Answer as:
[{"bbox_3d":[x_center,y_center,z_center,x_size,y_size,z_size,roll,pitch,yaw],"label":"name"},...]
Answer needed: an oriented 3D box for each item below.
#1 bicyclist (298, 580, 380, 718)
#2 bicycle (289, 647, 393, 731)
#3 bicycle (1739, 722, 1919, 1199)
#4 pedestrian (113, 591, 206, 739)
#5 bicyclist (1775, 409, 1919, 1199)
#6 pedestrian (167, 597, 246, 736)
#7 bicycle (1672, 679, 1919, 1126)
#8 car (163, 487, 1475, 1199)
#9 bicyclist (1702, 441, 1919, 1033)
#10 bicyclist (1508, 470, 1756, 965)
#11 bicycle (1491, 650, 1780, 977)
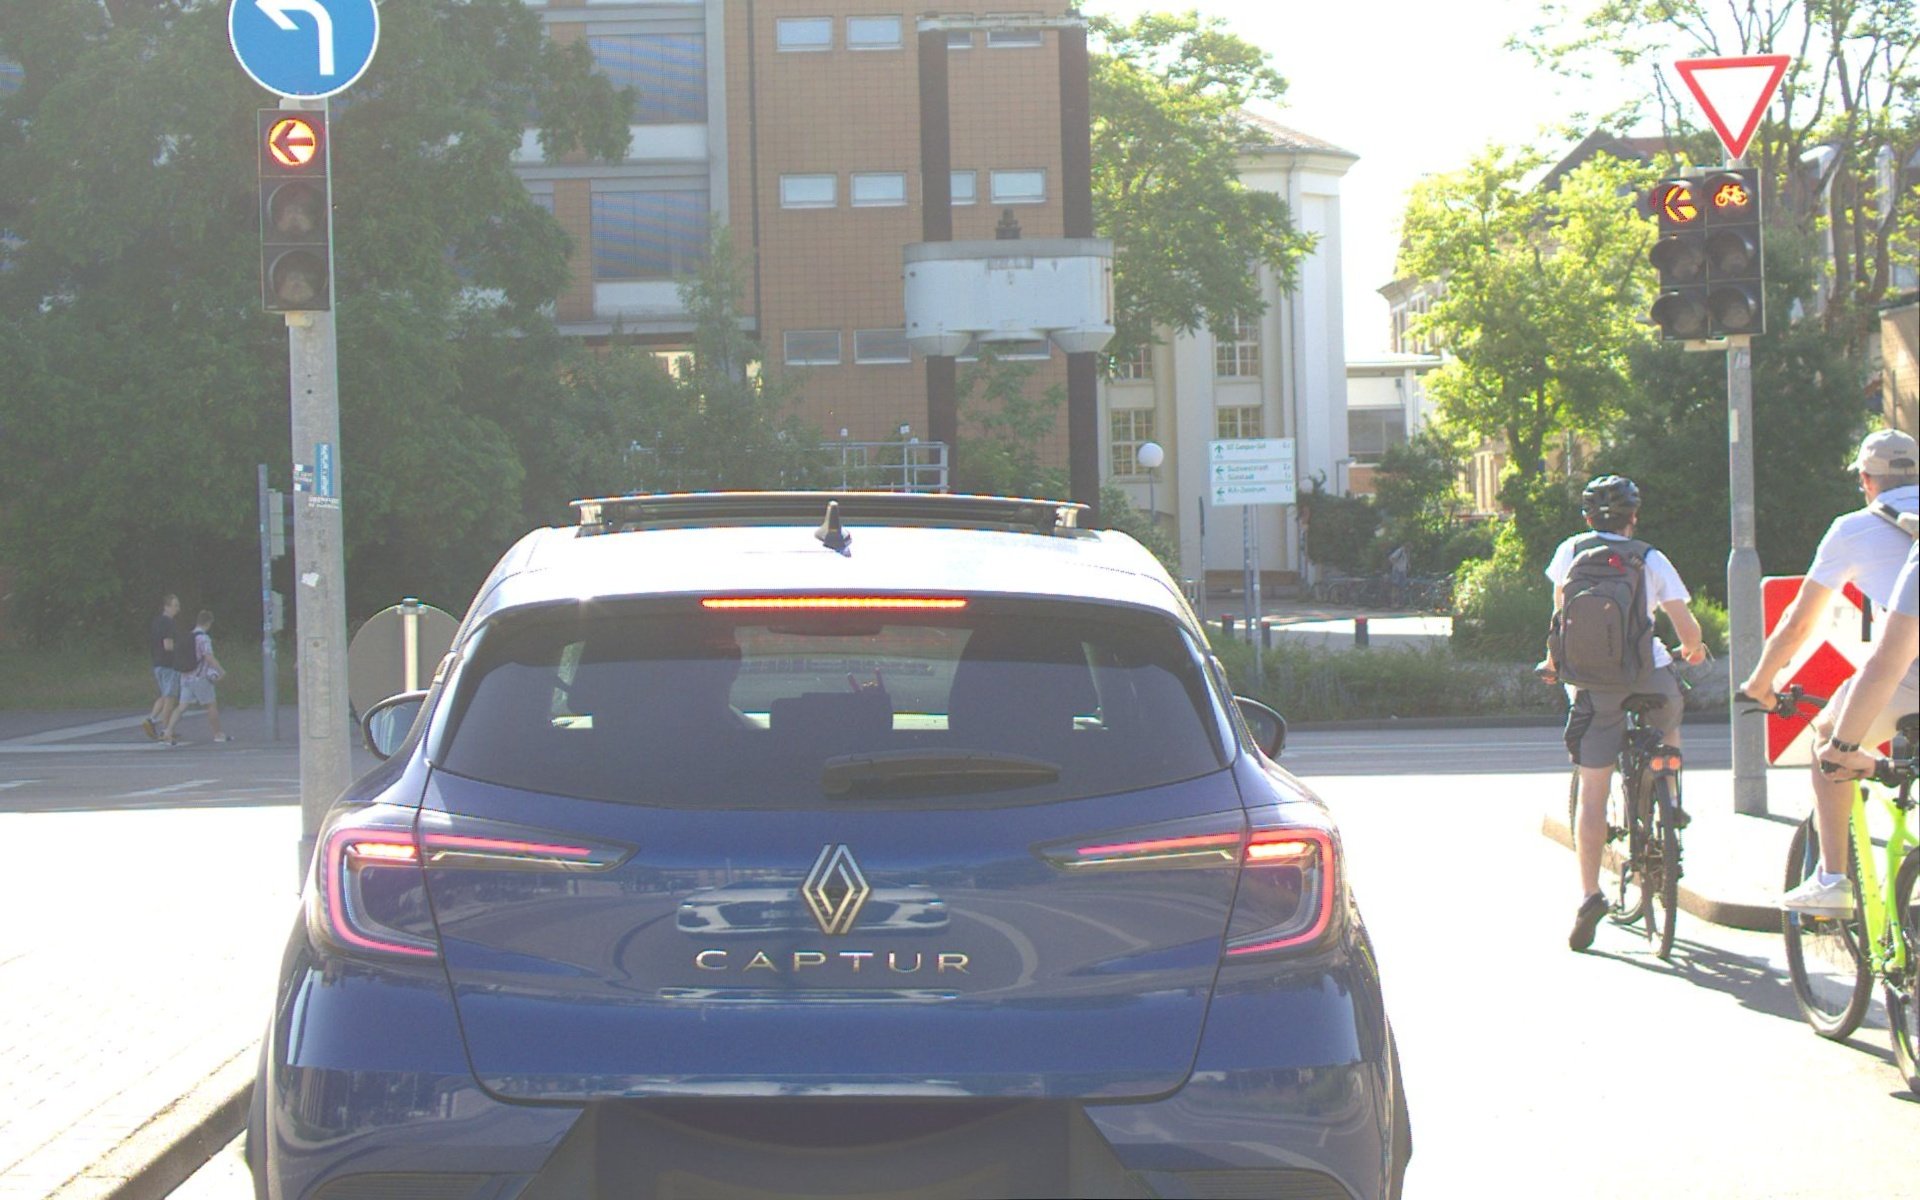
[{"bbox_3d":[-7.907,0.618,43.801,0.755,1.710,0.998,-1,1,5],"label":"bicyclist"},{"bbox_3d":[-7.886,1.125,43.912,0.755,0.981,2.093,-1,1,5],"label":"bicycle"},{"bbox_3d":[2.233,0.848,7.328,0.689,1.085,1.922,0,1,-1],"label":"bicycle"},{"bbox_3d":[-10.312,0.831,44.306,0.814,1.856,0.909,-1,1,13],"label":"pedestrian"},{"bbox_3d":[2.231,0.507,7.373,0.683,1.785,1.142,0,1,-1],"label":"bicyclist"},{"bbox_3d":[-9.552,0.836,43.608,0.681,1.724,0.760,-1,1,13],"label":"pedestrian"},{"bbox_3d":[2.591,0.802,9.828,0.689,1.085,1.922,0,1,-1],"label":"bicycle"},{"bbox_3d":[-0.270,0.613,6.655,1.788,1.580,3.915,0,1,-2],"label":"car"},{"bbox_3d":[2.586,0.360,9.797,0.678,1.589,1.142,0,1,-1],"label":"bicyclist"},{"bbox_3d":[2.512,0.417,12.962,0.699,1.785,1.142,0,1,-1],"label":"bicyclist"},{"bbox_3d":[2.503,0.758,12.945,0.689,1.085,1.922,0,1,-1],"label":"bicycle"}]
